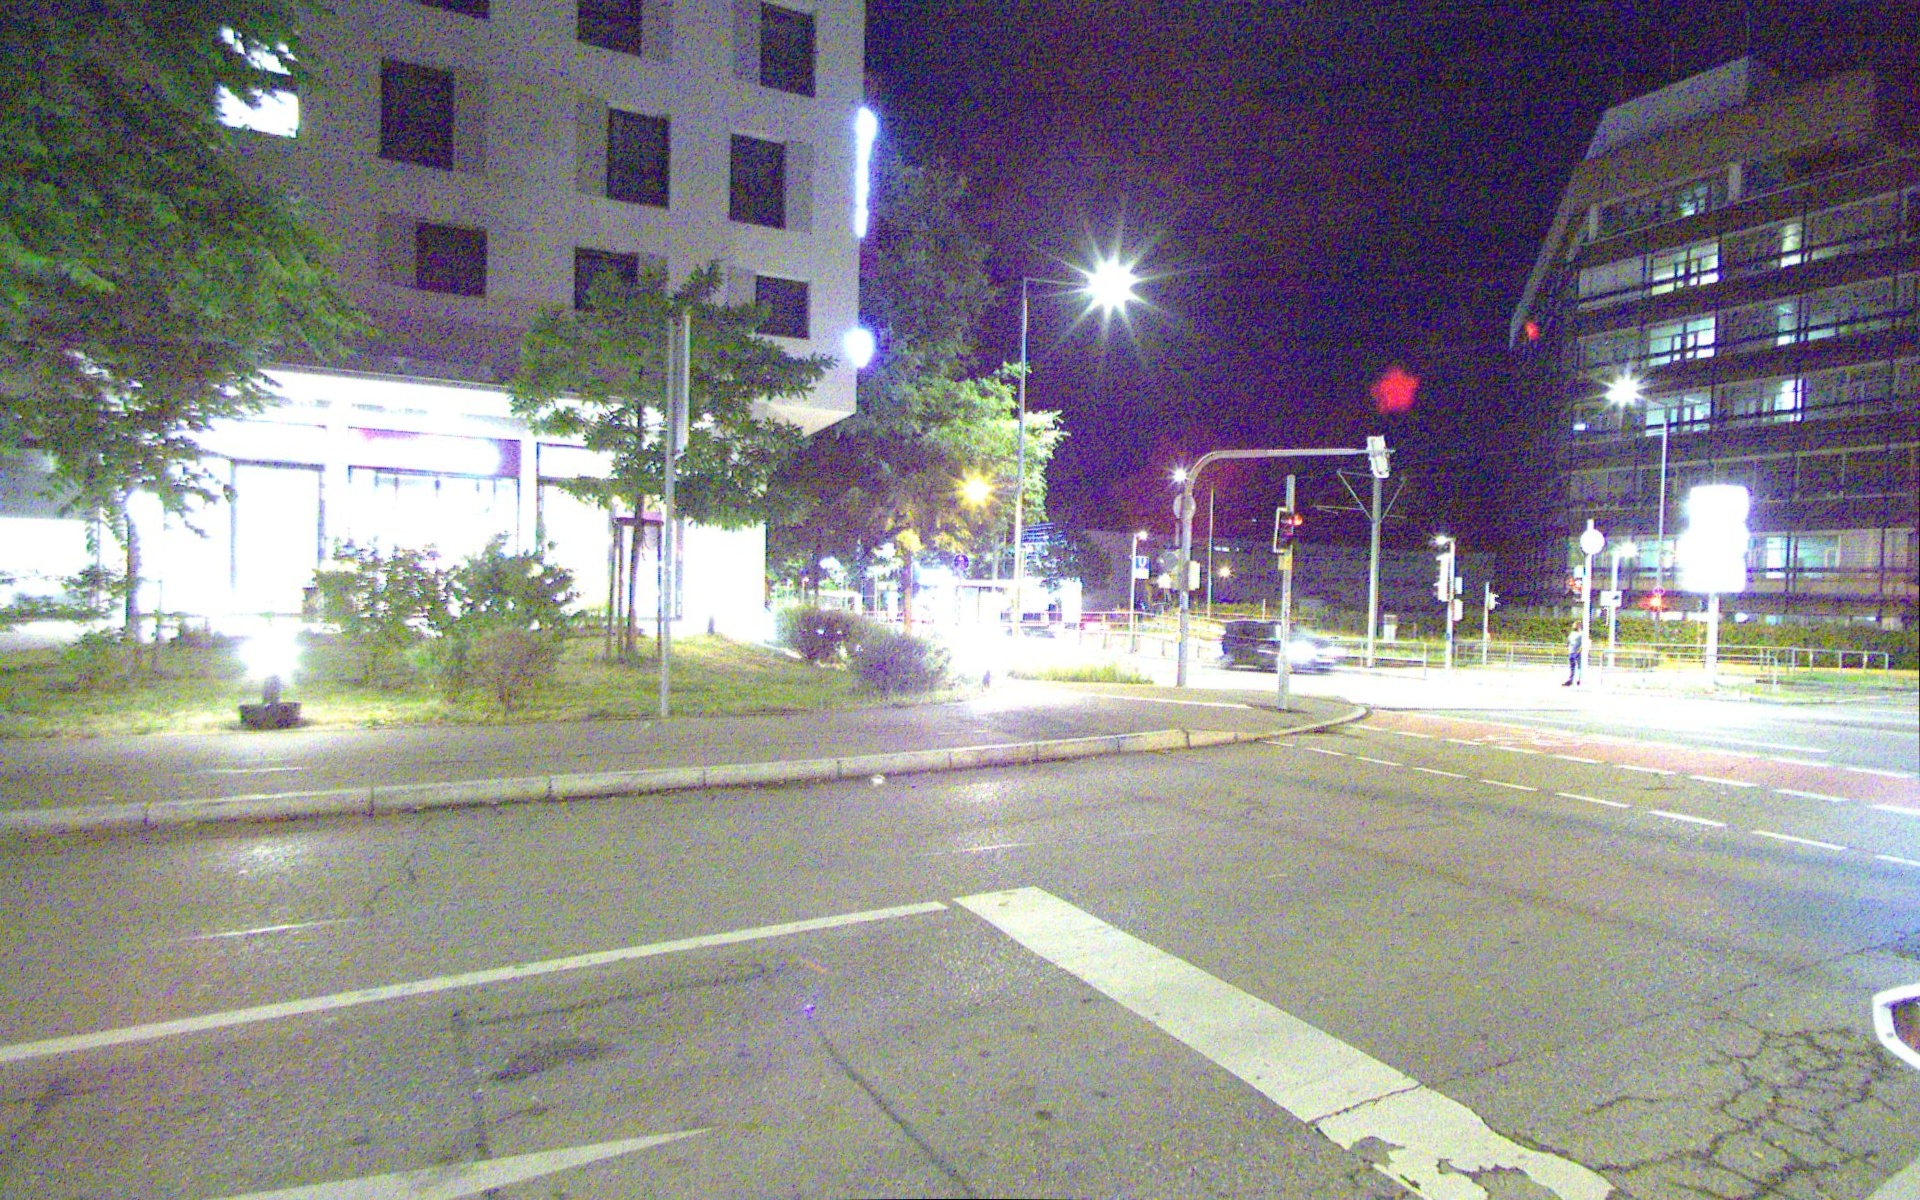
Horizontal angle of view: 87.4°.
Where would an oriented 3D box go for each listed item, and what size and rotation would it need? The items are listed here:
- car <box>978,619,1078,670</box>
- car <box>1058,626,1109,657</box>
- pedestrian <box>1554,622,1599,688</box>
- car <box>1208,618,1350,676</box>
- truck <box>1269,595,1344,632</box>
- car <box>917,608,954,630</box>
[{"bbox_3d":[2.322,1.517,35.206,1.786,1.684,3.975,2,-2,-25],"label":"car"},{"bbox_3d":[8.738,2.952,71.215,1.970,2.040,3.982,2,-3,-20],"label":"car"},{"bbox_3d":[15.942,1.416,25.966,0.854,1.656,0.665,2,0,-34],"label":"pedestrian"},{"bbox_3d":[10.148,1.453,32.319,1.839,1.681,4.431,2,-1,-26],"label":"car"},{"bbox_3d":[30.834,1.174,89.654,2.877,3.129,5.873,2,0,-28],"label":"truck"},{"bbox_3d":[-2.402,1.803,97.791,1.974,2.001,4.168,2,0,-26],"label":"car"}]
